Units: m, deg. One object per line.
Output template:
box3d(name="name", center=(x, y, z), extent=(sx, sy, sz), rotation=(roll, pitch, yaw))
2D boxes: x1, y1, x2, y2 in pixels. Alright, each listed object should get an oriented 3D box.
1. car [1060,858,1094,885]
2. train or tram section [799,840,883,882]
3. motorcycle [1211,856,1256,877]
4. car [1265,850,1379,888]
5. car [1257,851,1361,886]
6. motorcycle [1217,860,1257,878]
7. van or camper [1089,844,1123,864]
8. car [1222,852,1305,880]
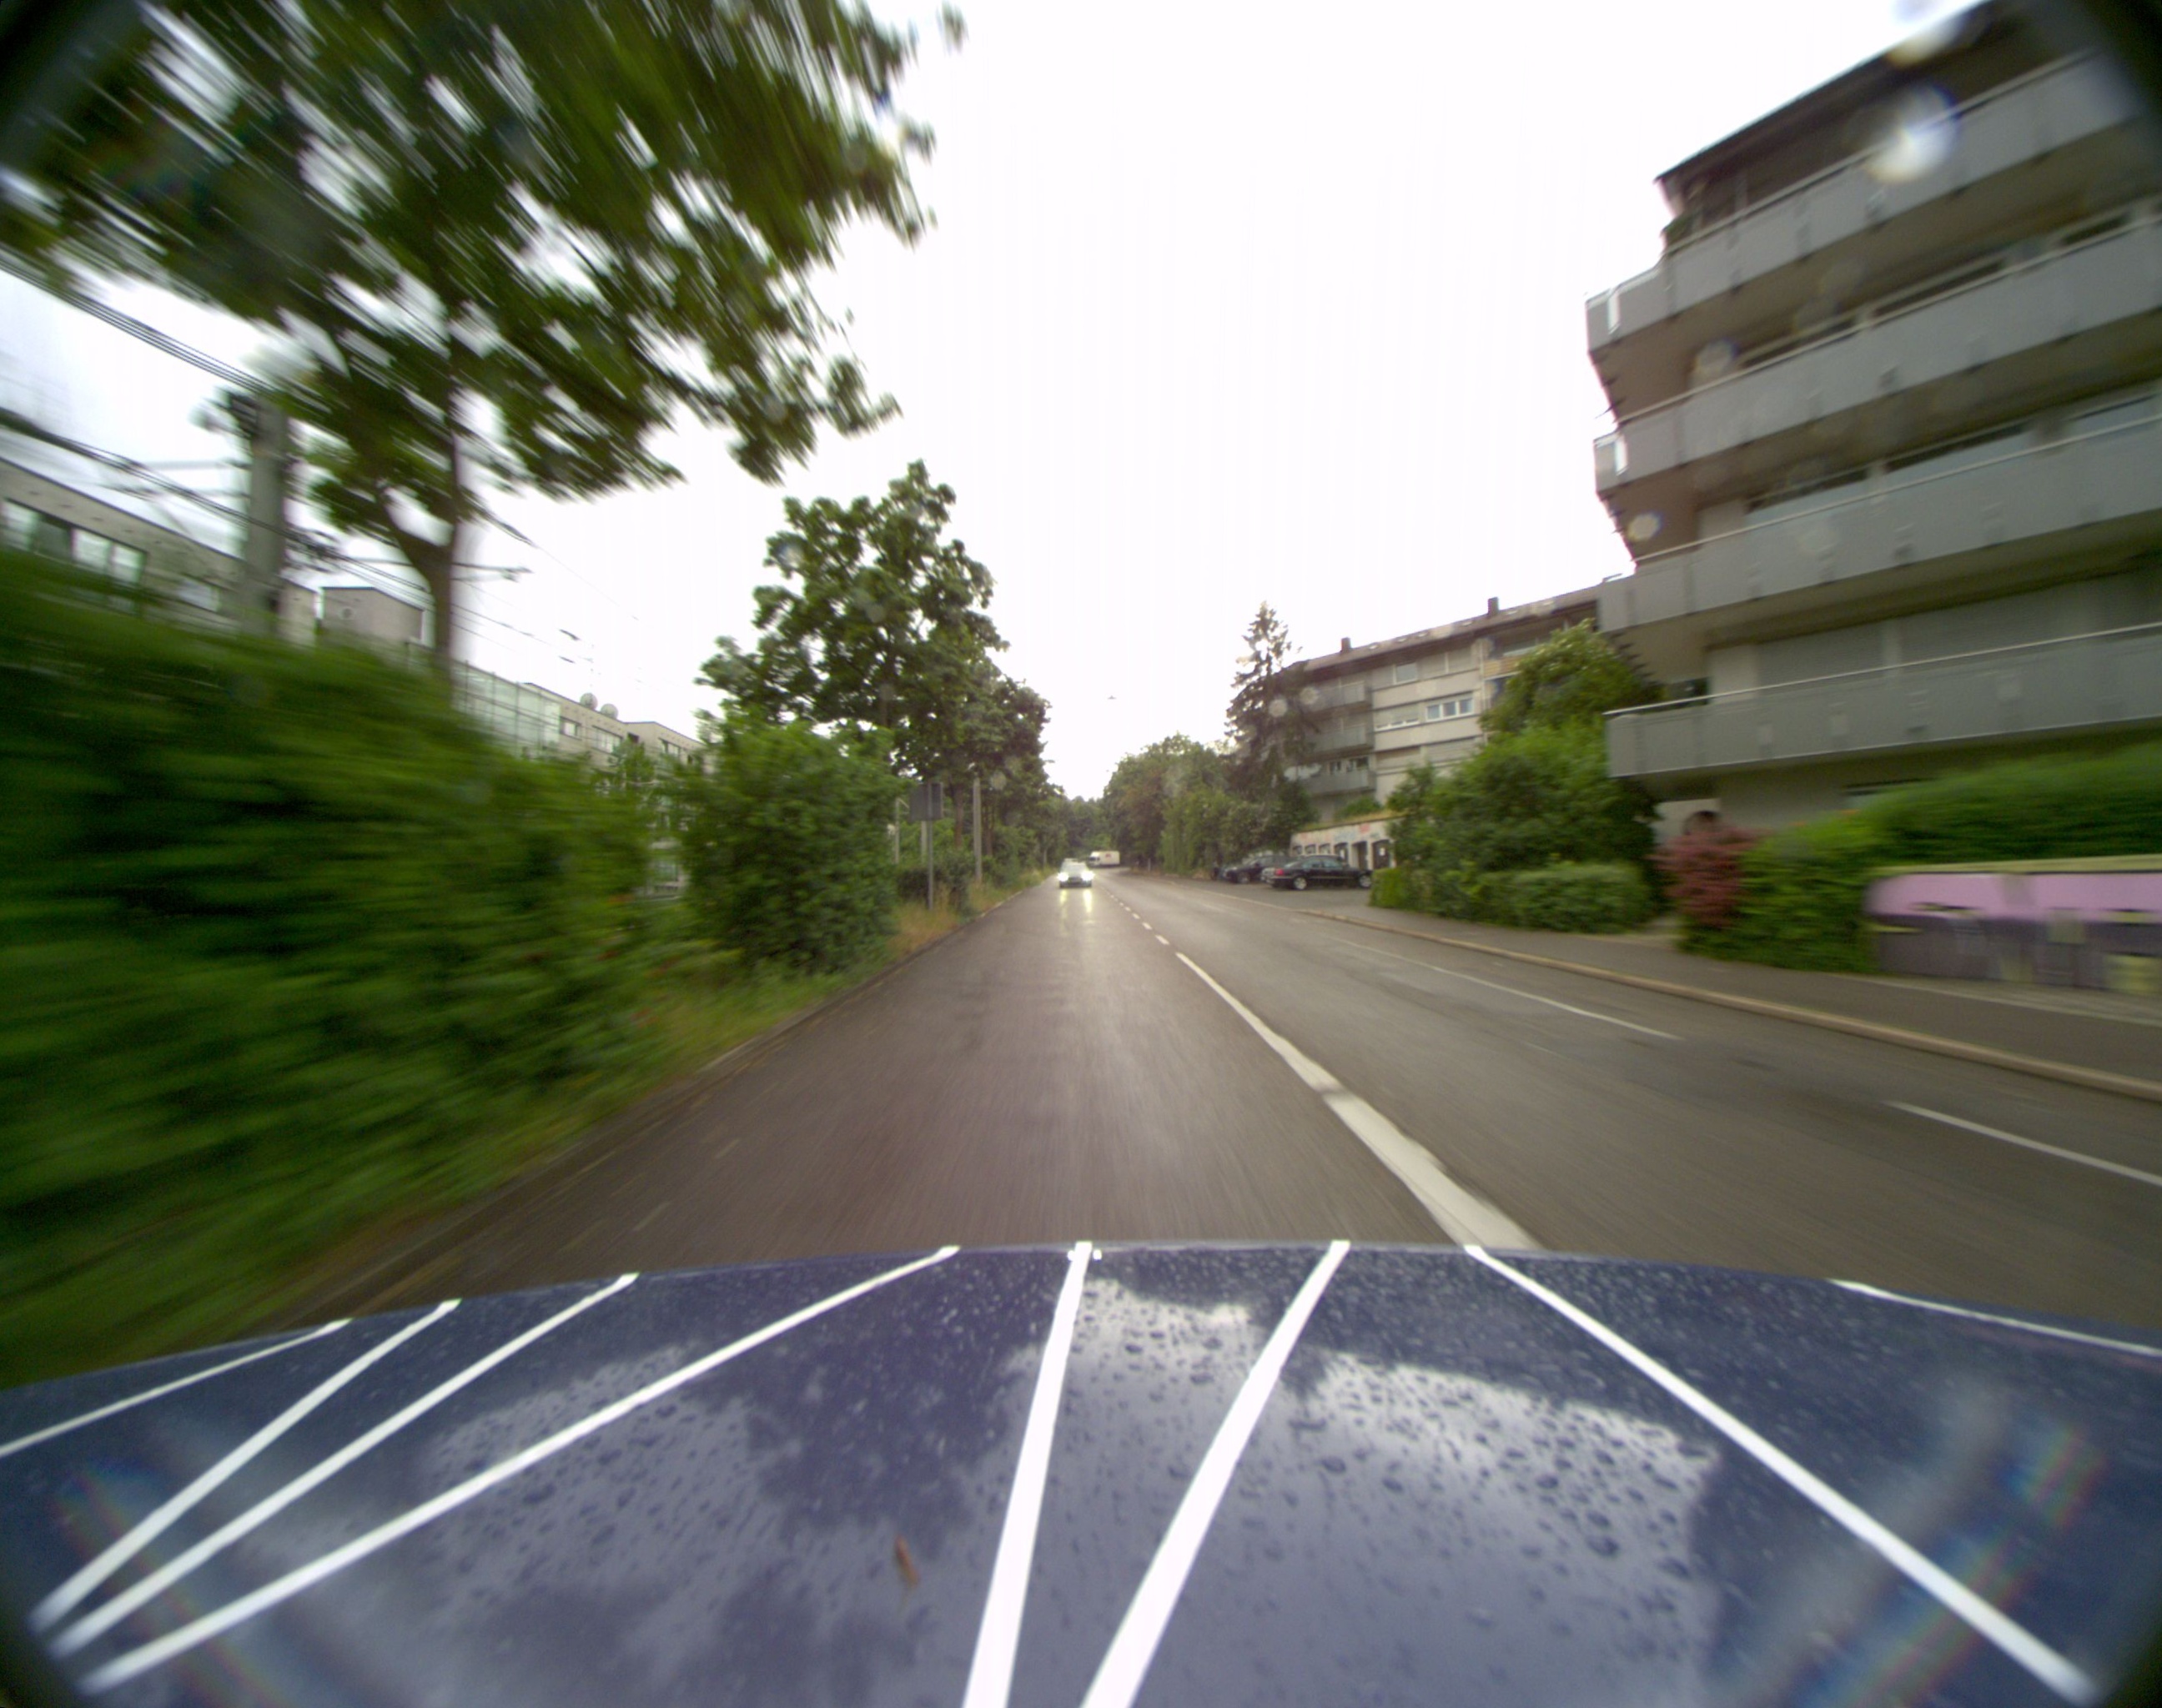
box3d(name="car", center=(-0.238, 1.062, 46.368), extent=(1.861, 1.469, 4.000), rotation=(-4, -1, 0))
box3d(name="train or tram section", center=(-22.466, 0.660, 72.439), extent=(3.114, 3.477, 14.857), rotation=(-1, 0, 0))
box3d(name="motorcycle", center=(10.067, 0.834, 50.192), extent=(2.806, 1.265, 1.280), rotation=(-2, 1, 15))
box3d(name="car", center=(10.770, 0.655, 34.154), extent=(4.496, 1.481, 1.848), rotation=(-3, 1, 1))
box3d(name="car", center=(10.899, 0.671, 36.530), extent=(4.441, 1.519, 1.774), rotation=(-1, 0, -2))
box3d(name="motorcycle", center=(9.936, 0.944, 48.428), extent=(2.460, 1.102, 0.661), rotation=(-1, 0, 7))
box3d(name="van or camper", center=(5.191, -0.081, 157.718), extent=(2.882, 3.914, 8.160), rotation=(-1, 0, 36))
box3d(name="car", center=(10.563, 0.668, 44.185), extent=(4.440, 1.519, 1.775), rotation=(-1, 0, 0))
